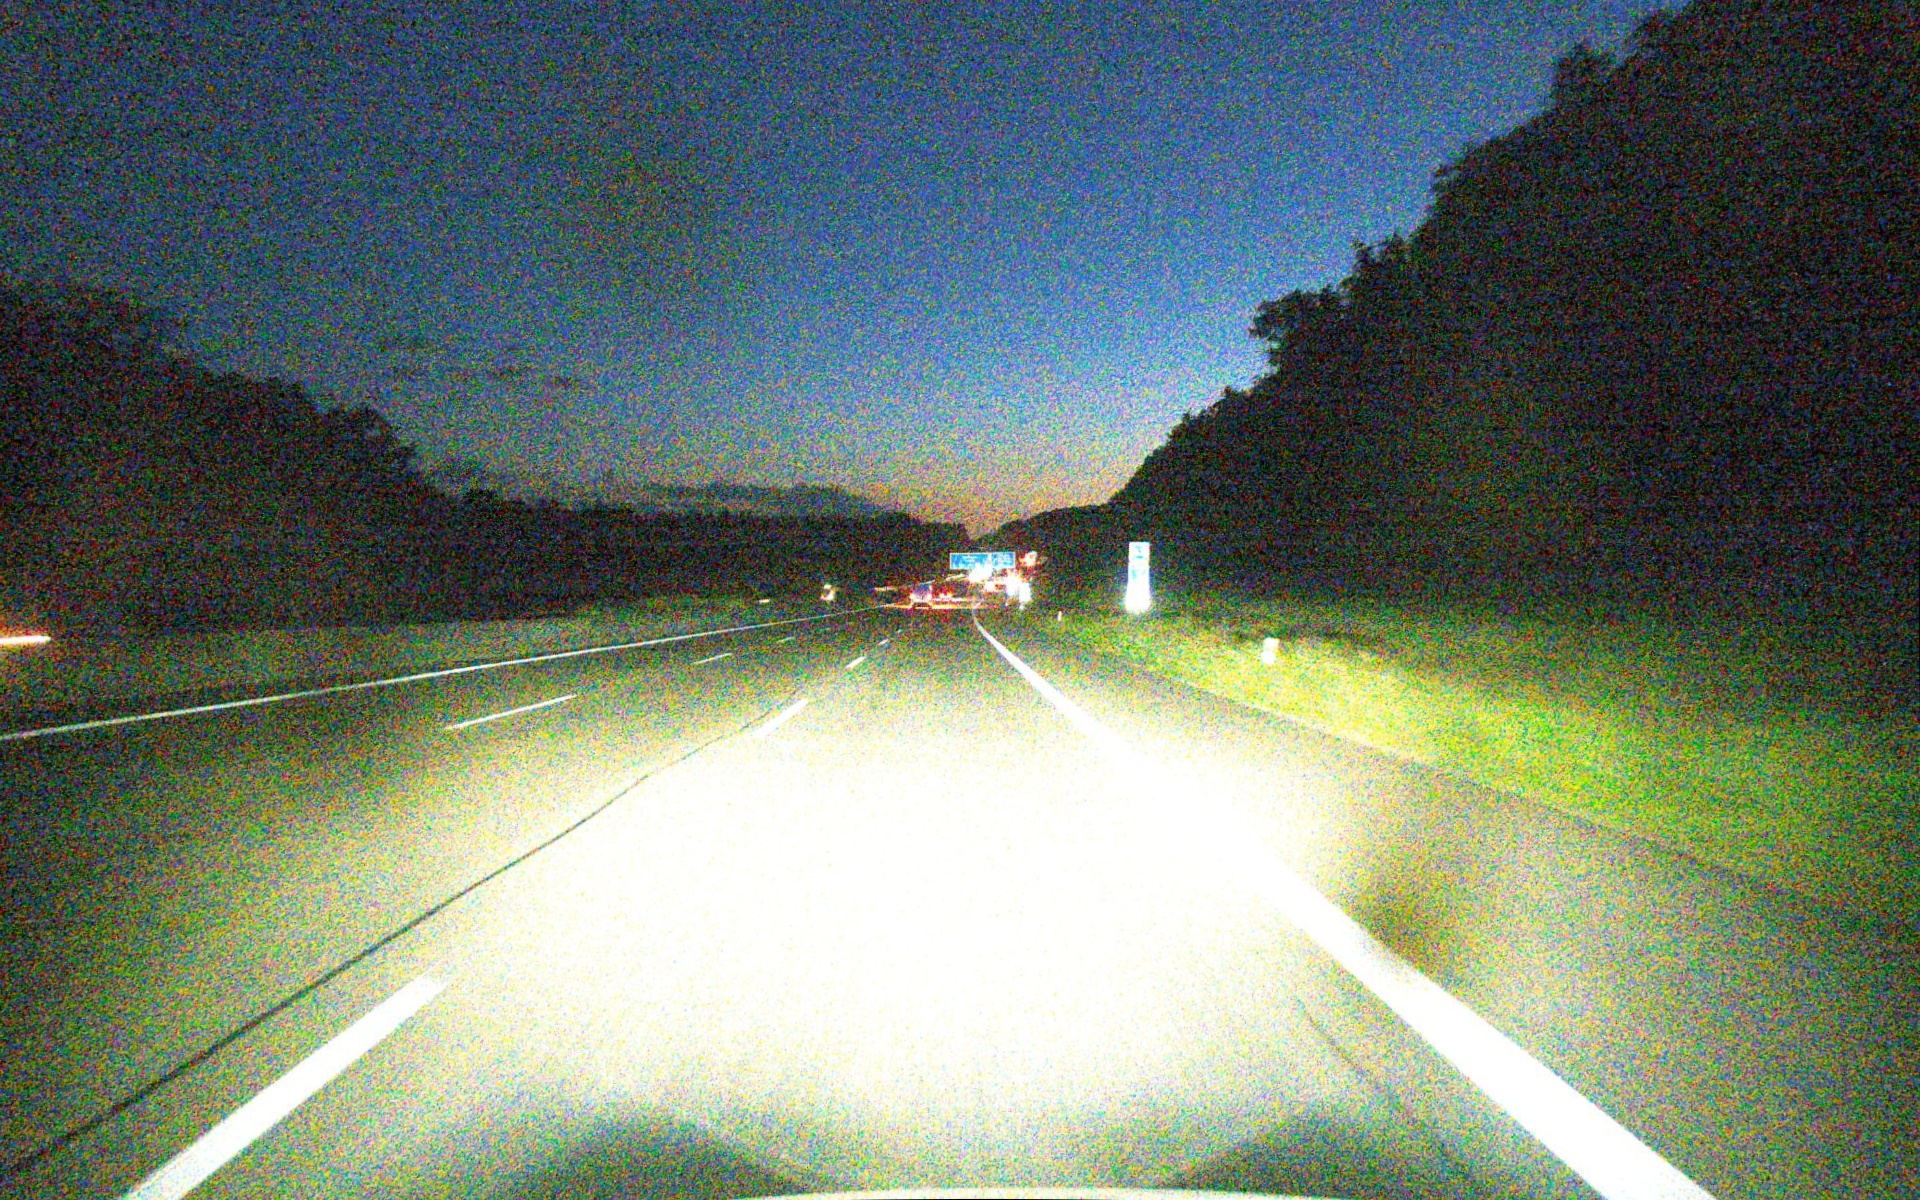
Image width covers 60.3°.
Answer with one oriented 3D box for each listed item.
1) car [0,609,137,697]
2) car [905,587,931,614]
[{"bbox_3d":[-19.454,1.041,34.590,1.968,1.680,5.108,1,0,-1],"label":"car"},{"bbox_3d":[-4.420,0.089,174.408,2.730,2.781,6.298,0,0,-1],"label":"car"}]
